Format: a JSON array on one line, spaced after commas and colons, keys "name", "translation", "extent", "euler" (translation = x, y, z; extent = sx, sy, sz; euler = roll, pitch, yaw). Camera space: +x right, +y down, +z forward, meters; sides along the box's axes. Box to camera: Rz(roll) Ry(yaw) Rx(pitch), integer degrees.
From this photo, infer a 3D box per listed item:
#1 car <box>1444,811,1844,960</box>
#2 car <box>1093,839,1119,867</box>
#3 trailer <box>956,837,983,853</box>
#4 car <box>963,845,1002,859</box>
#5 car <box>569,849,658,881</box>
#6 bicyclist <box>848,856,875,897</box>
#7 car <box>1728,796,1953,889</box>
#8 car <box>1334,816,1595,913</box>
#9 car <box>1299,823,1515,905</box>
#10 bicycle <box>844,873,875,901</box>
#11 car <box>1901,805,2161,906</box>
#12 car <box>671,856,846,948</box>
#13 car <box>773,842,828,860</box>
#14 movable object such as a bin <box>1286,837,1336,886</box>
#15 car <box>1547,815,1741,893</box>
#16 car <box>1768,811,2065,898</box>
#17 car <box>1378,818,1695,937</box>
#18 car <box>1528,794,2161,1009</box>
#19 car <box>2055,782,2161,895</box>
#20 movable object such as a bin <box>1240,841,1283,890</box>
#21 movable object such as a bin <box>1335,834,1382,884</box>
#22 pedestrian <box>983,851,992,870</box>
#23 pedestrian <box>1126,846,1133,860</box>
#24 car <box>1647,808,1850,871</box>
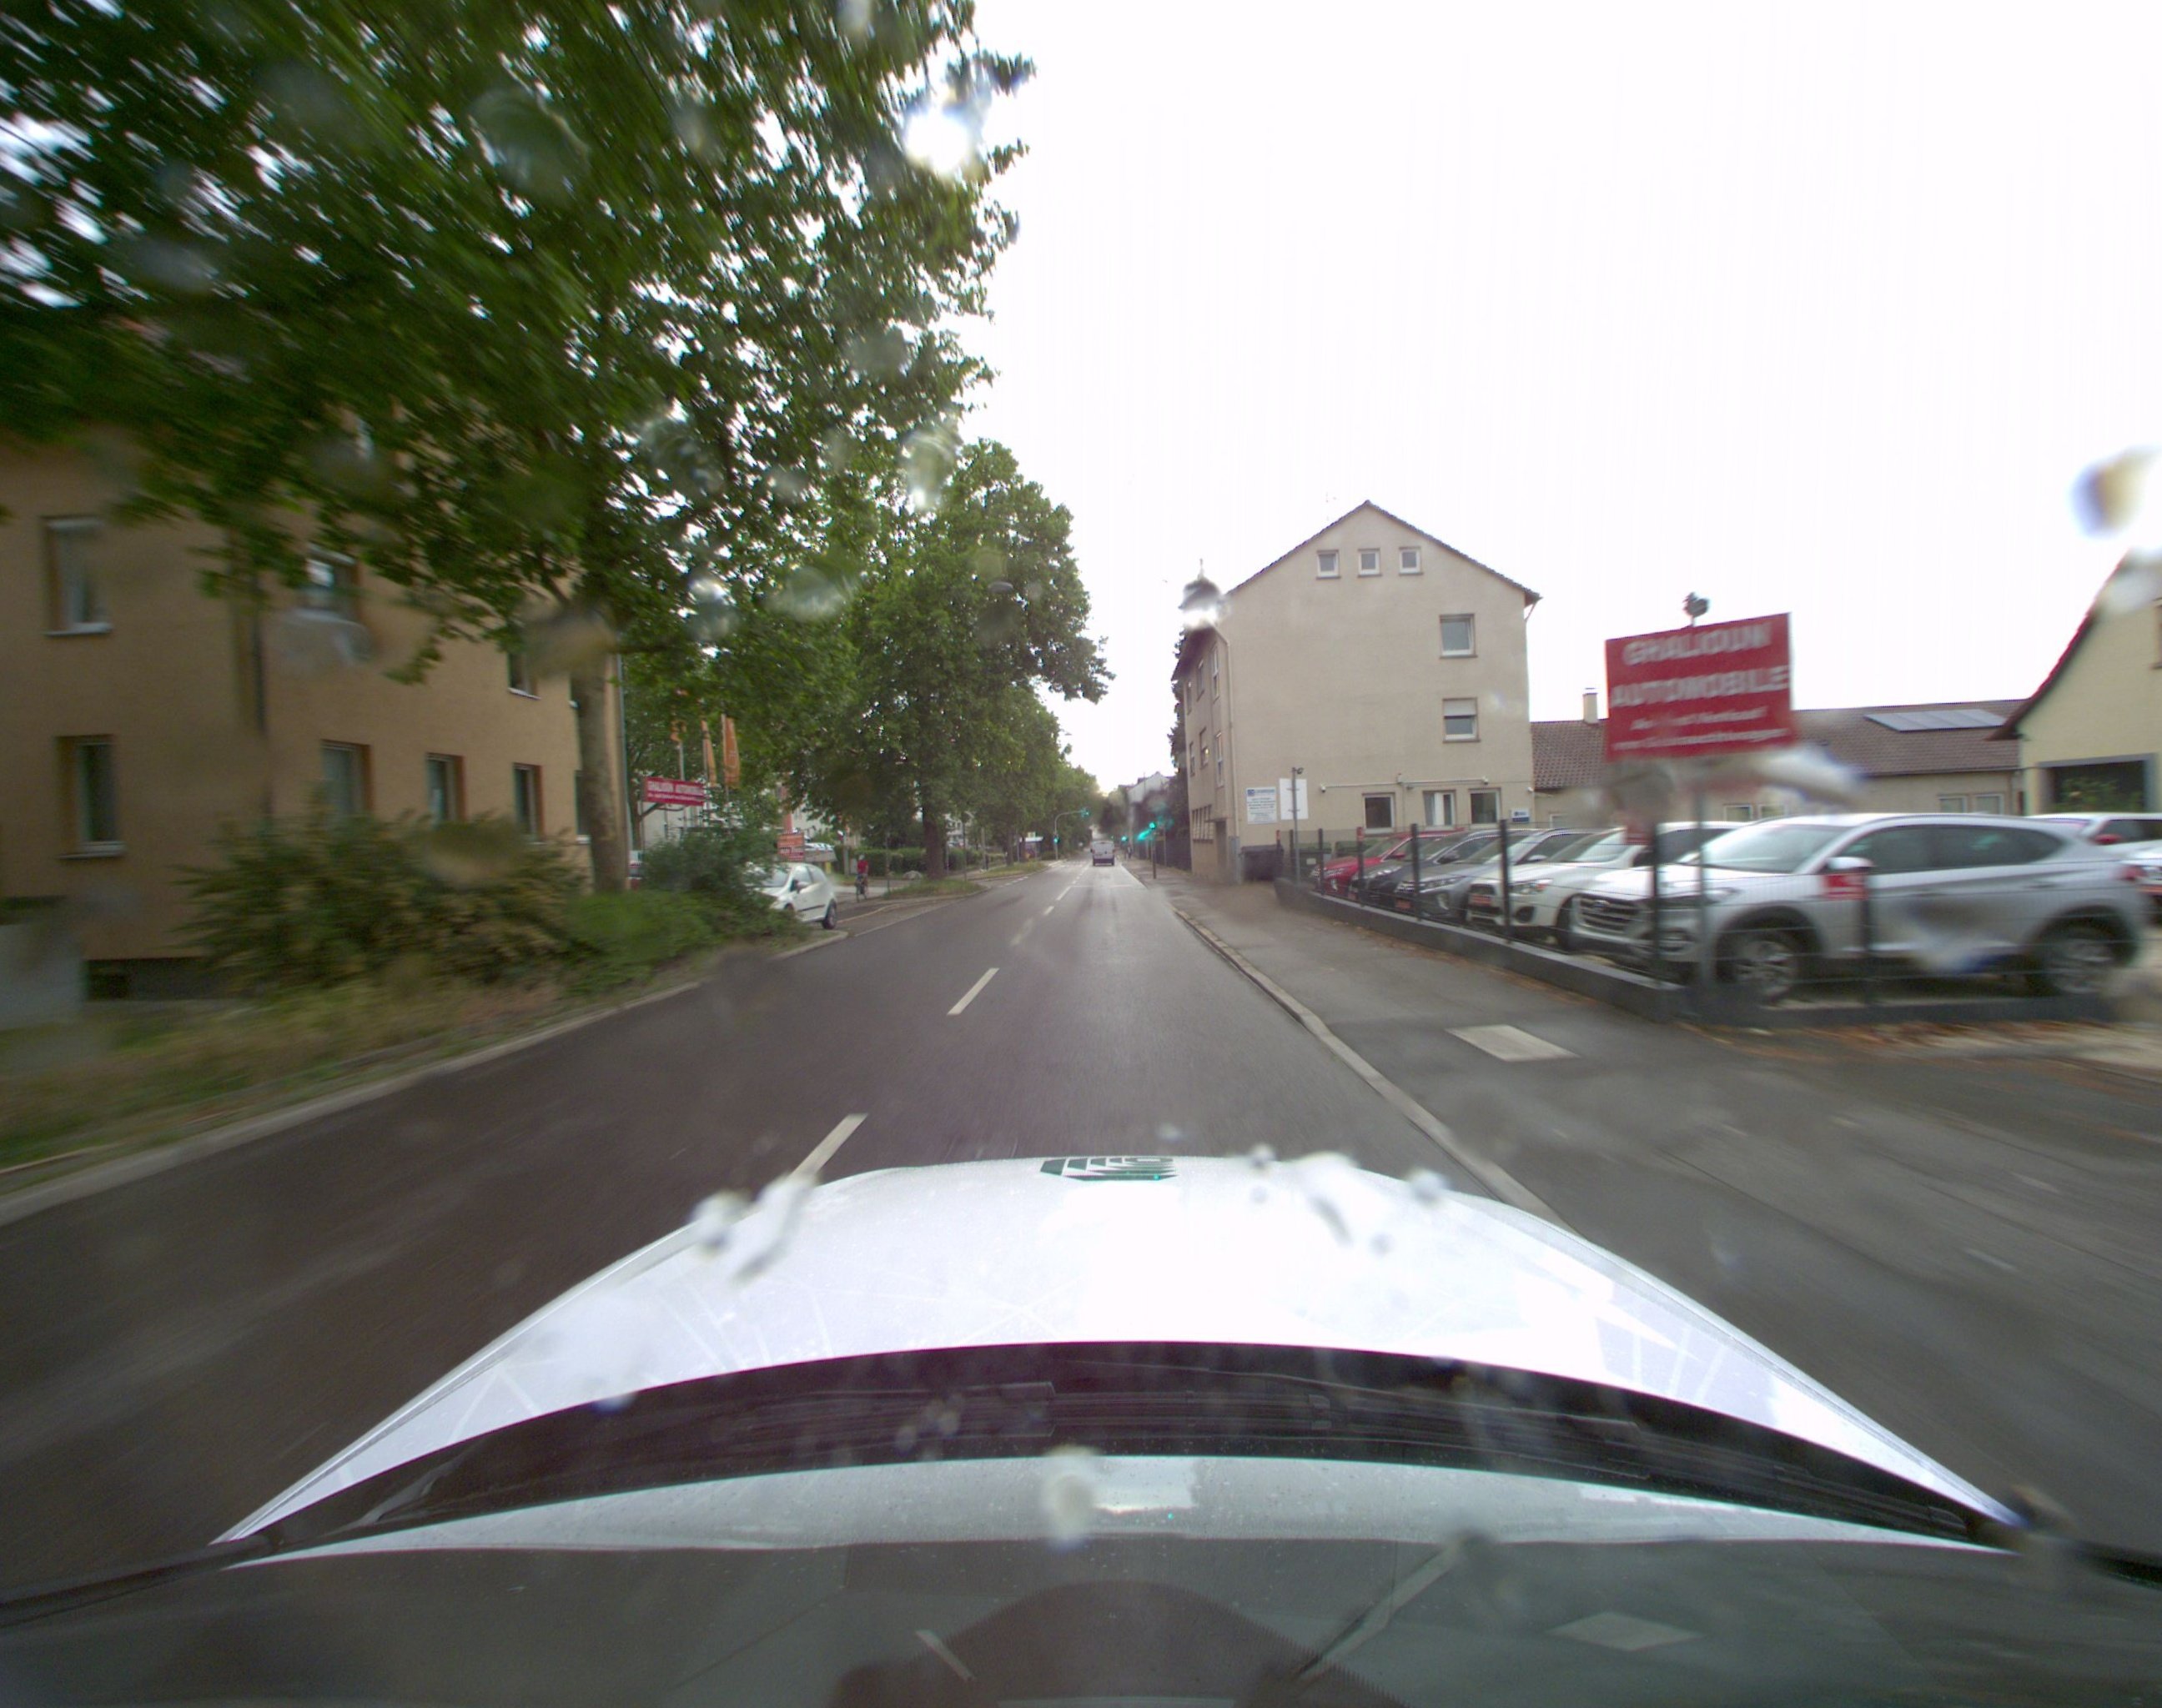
[{"name": "car", "translation": [7.054, 0.380, 10.531], "extent": [3.934, 1.724, 1.792], "euler": [-1, 0, 1]}, {"name": "car", "translation": [2.346, -0.076, 76.854], "extent": [2.274, 2.553, 4.001], "euler": [-2, -1, 2]}, {"name": "trailer", "translation": [-11.987, -0.957, 87.752], "extent": [2.694, 1.645, 1.481], "euler": [-1, 0, 2]}, {"name": "car", "translation": [-12.233, -0.268, 101.514], "extent": [4.530, 1.672, 2.000], "euler": [-1, -1, 0]}, {"name": "car", "translation": [-26.727, 0.637, 46.641], "extent": [3.973, 1.779, 1.880], "euler": [0, -1, 1]}, {"name": "bicyclist", "translation": [-8.413, 0.858, 31.243], "extent": [0.830, 1.553, 0.817], "euler": [-1, -1, 0]}, {"name": "car", "translation": [17.294, -0.246, 18.675], "extent": [3.569, 2.014, 1.723], "euler": [-1, -1, -1]}, {"name": "car", "translation": [7.304, 0.205, 15.842], "extent": [4.213, 1.736, 1.870], "euler": [-1, -1, 1]}, {"name": "car", "translation": [7.354, 0.231, 18.681], "extent": [4.213, 1.736, 1.870], "euler": [-1, -1, 1]}, {"name": "bicycle", "translation": [-8.398, 1.238, 30.997], "extent": [0.552, 0.996, 2.265], "euler": [-1, -1, 0]}, {"name": "car", "translation": [16.174, 0.018, 13.380], "extent": [3.754, 1.532, 1.757], "euler": [-1, 0, -3]}, {"name": "car", "translation": [-6.441, 0.876, 16.866], "extent": [1.779, 1.551, 4.352], "euler": [-1, 1, 1]}, {"name": "car", "translation": [-23.975, -0.242, 69.671], "extent": [3.969, 1.415, 1.850], "euler": [-1, -1, 3]}, {"name": "movable object such as a bin", "translation": [7.546, 0.253, 26.751], "extent": [1.230, 1.509, 1.111], "euler": [-4, -1, 1]}, {"name": "car", "translation": [12.207, 0.021, 17.979], "extent": [1.801, 1.530, 3.628], "euler": [-1, -1, 1]}, {"name": "car", "translation": [16.475, 0.020, 16.218], "extent": [4.071, 1.600, 1.794], "euler": [-1, -1, 0]}, {"name": "car", "translation": [7.150, 0.370, 13.112], "extent": [4.052, 1.736, 1.870], "euler": [-1, -1, 1]}, {"name": "car", "translation": [7.056, 0.417, 7.934], "extent": [4.287, 1.768, 2.000], "euler": [-1, -1, 1]}, {"name": "car", "translation": [16.044, -0.214, 10.758], "extent": [3.974, 1.468, 1.999], "euler": [-1, -1, 0]}, {"name": "movable object such as a bin", "translation": [5.946, 0.367, 26.852], "extent": [1.106, 1.509, 0.987], "euler": [-4, -1, 1]}, {"name": "movable object such as a bin", "translation": [9.085, 0.167, 26.729], "extent": [1.106, 1.509, 1.010], "euler": [-4, -1, 1]}, {"name": "pedestrian", "translation": [-8.322, 0.594, 72.266], "extent": [0.753, 1.611, 0.834], "euler": [0, -1, -3]}, {"name": "pedestrian", "translation": [5.720, -0.096, 96.080], "extent": [0.741, 1.704, 0.900], "euler": [0, -1, -4]}, {"name": "car", "translation": [18.319, -0.354, 22.572], "extent": [3.954, 1.593, 1.830], "euler": [-1, -1, 19]}]
